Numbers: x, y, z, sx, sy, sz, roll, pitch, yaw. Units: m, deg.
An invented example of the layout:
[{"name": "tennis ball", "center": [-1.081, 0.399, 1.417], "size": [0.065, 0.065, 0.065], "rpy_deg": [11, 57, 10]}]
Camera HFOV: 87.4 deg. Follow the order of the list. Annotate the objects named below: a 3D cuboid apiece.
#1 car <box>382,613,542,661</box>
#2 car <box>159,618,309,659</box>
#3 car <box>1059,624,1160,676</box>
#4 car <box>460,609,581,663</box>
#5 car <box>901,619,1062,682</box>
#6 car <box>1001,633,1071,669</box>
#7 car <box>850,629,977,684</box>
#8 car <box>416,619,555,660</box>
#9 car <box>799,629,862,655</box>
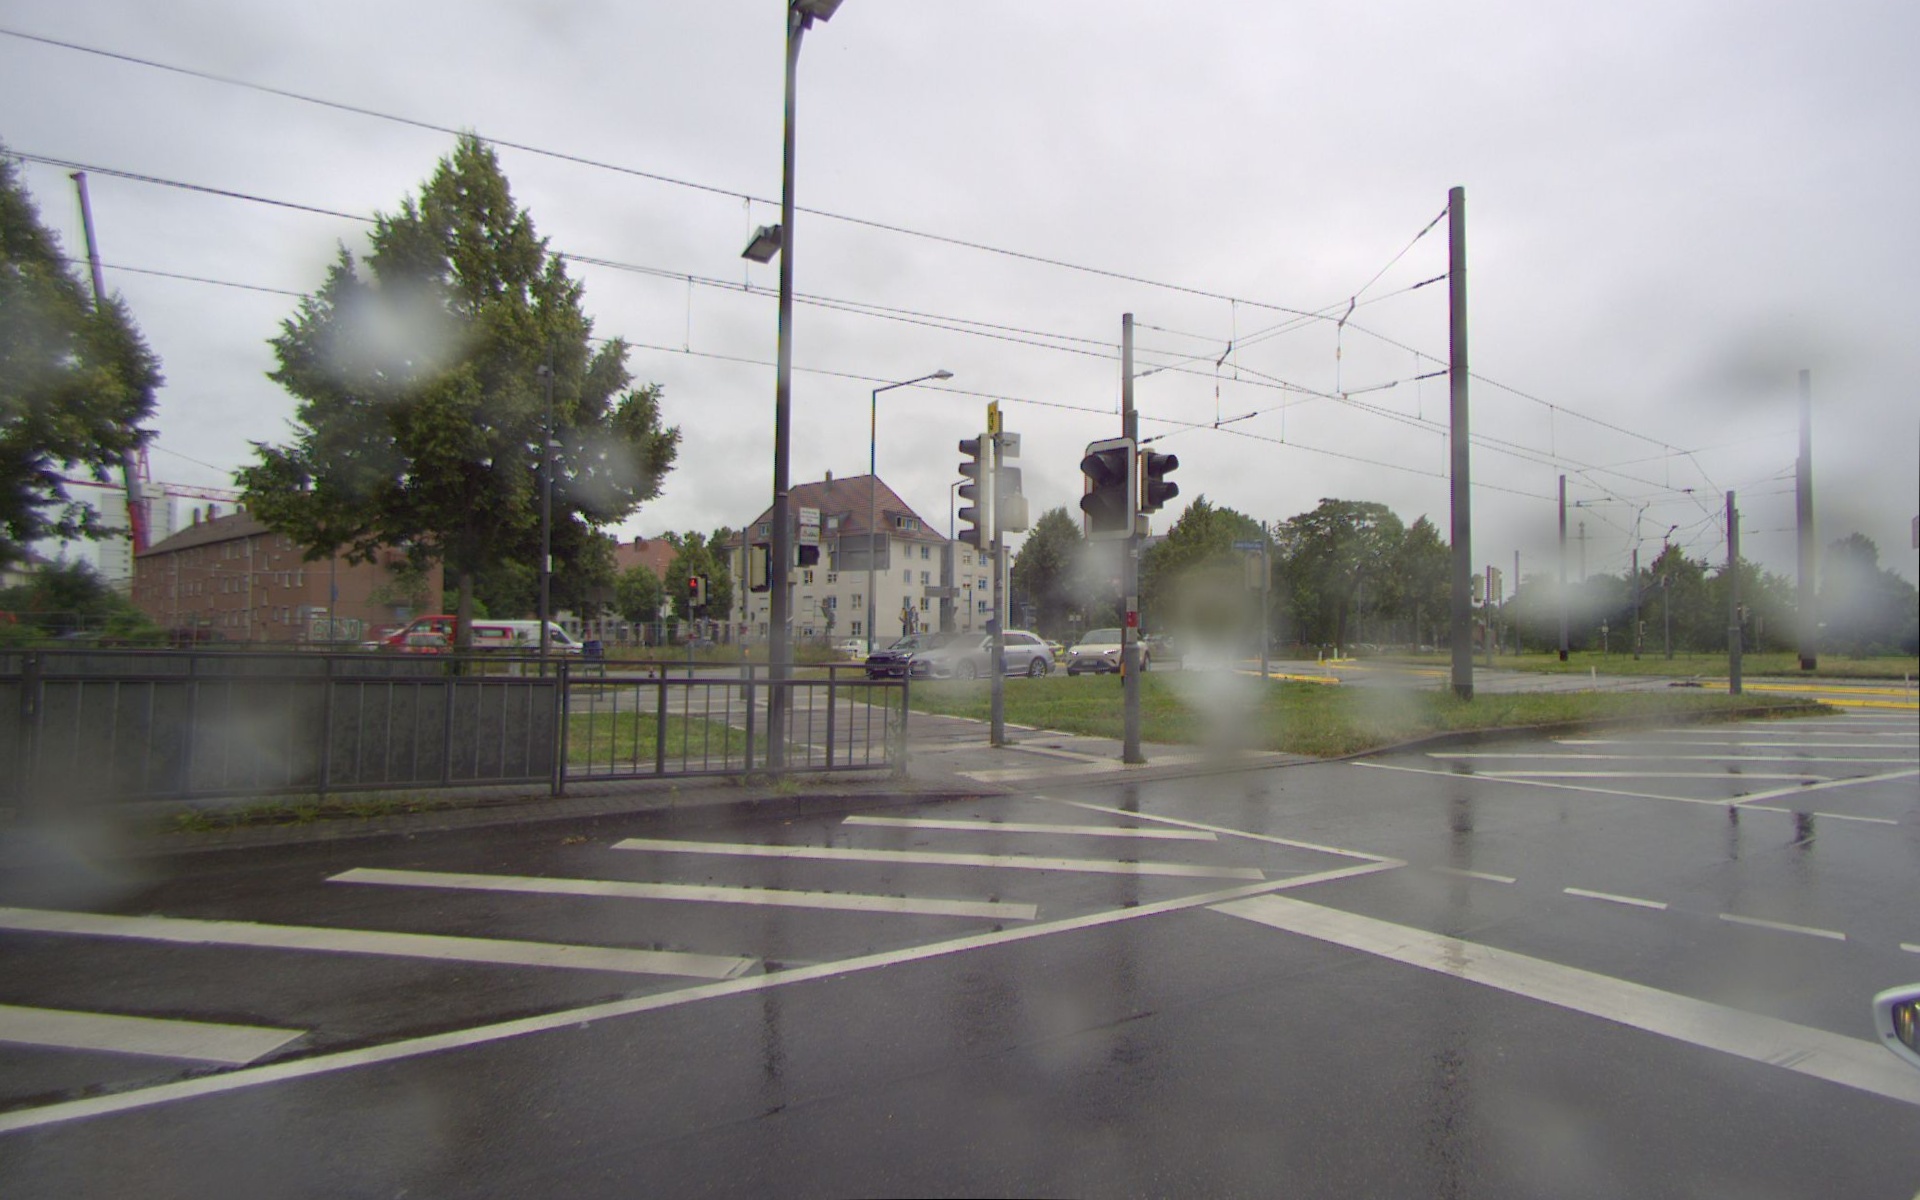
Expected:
[{"name": "car", "center": [-22.838, 1.718, 46.413], "size": [6.329, 2.040, 2.346], "rpy_deg": [2, 0, -20]}, {"name": "car", "center": [-39.688, 2.104, 55.075], "size": [2.325, 2.040, 6.388], "rpy_deg": [2, 0, 44]}, {"name": "car", "center": [4.963, 1.576, 32.923], "size": [1.819, 1.506, 4.217], "rpy_deg": [2, 0, 31]}, {"name": "car", "center": [-26.068, 2.156, 59.888], "size": [6.329, 2.978, 2.346], "rpy_deg": [2, 0, -20]}, {"name": "car", "center": [0.662, 1.327, 27.411], "size": [1.805, 1.506, 4.601], "rpy_deg": [2, 0, 42]}, {"name": "car", "center": [5.490, 3.621, 72.244], "size": [4.743, 2.358, 2.001], "rpy_deg": [2, 0, 12]}, {"name": "car", "center": [-1.377, 1.695, 31.125], "size": [1.802, 1.506, 3.985], "rpy_deg": [2, 0, 37]}, {"name": "car", "center": [-24.872, 2.076, 52.975], "size": [6.329, 2.040, 2.347], "rpy_deg": [1, -2, -20]}, {"name": "car", "center": [-10.598, 3.393, 82.076], "size": [4.747, 1.835, 1.999], "rpy_deg": [2, 0, 22]}]
